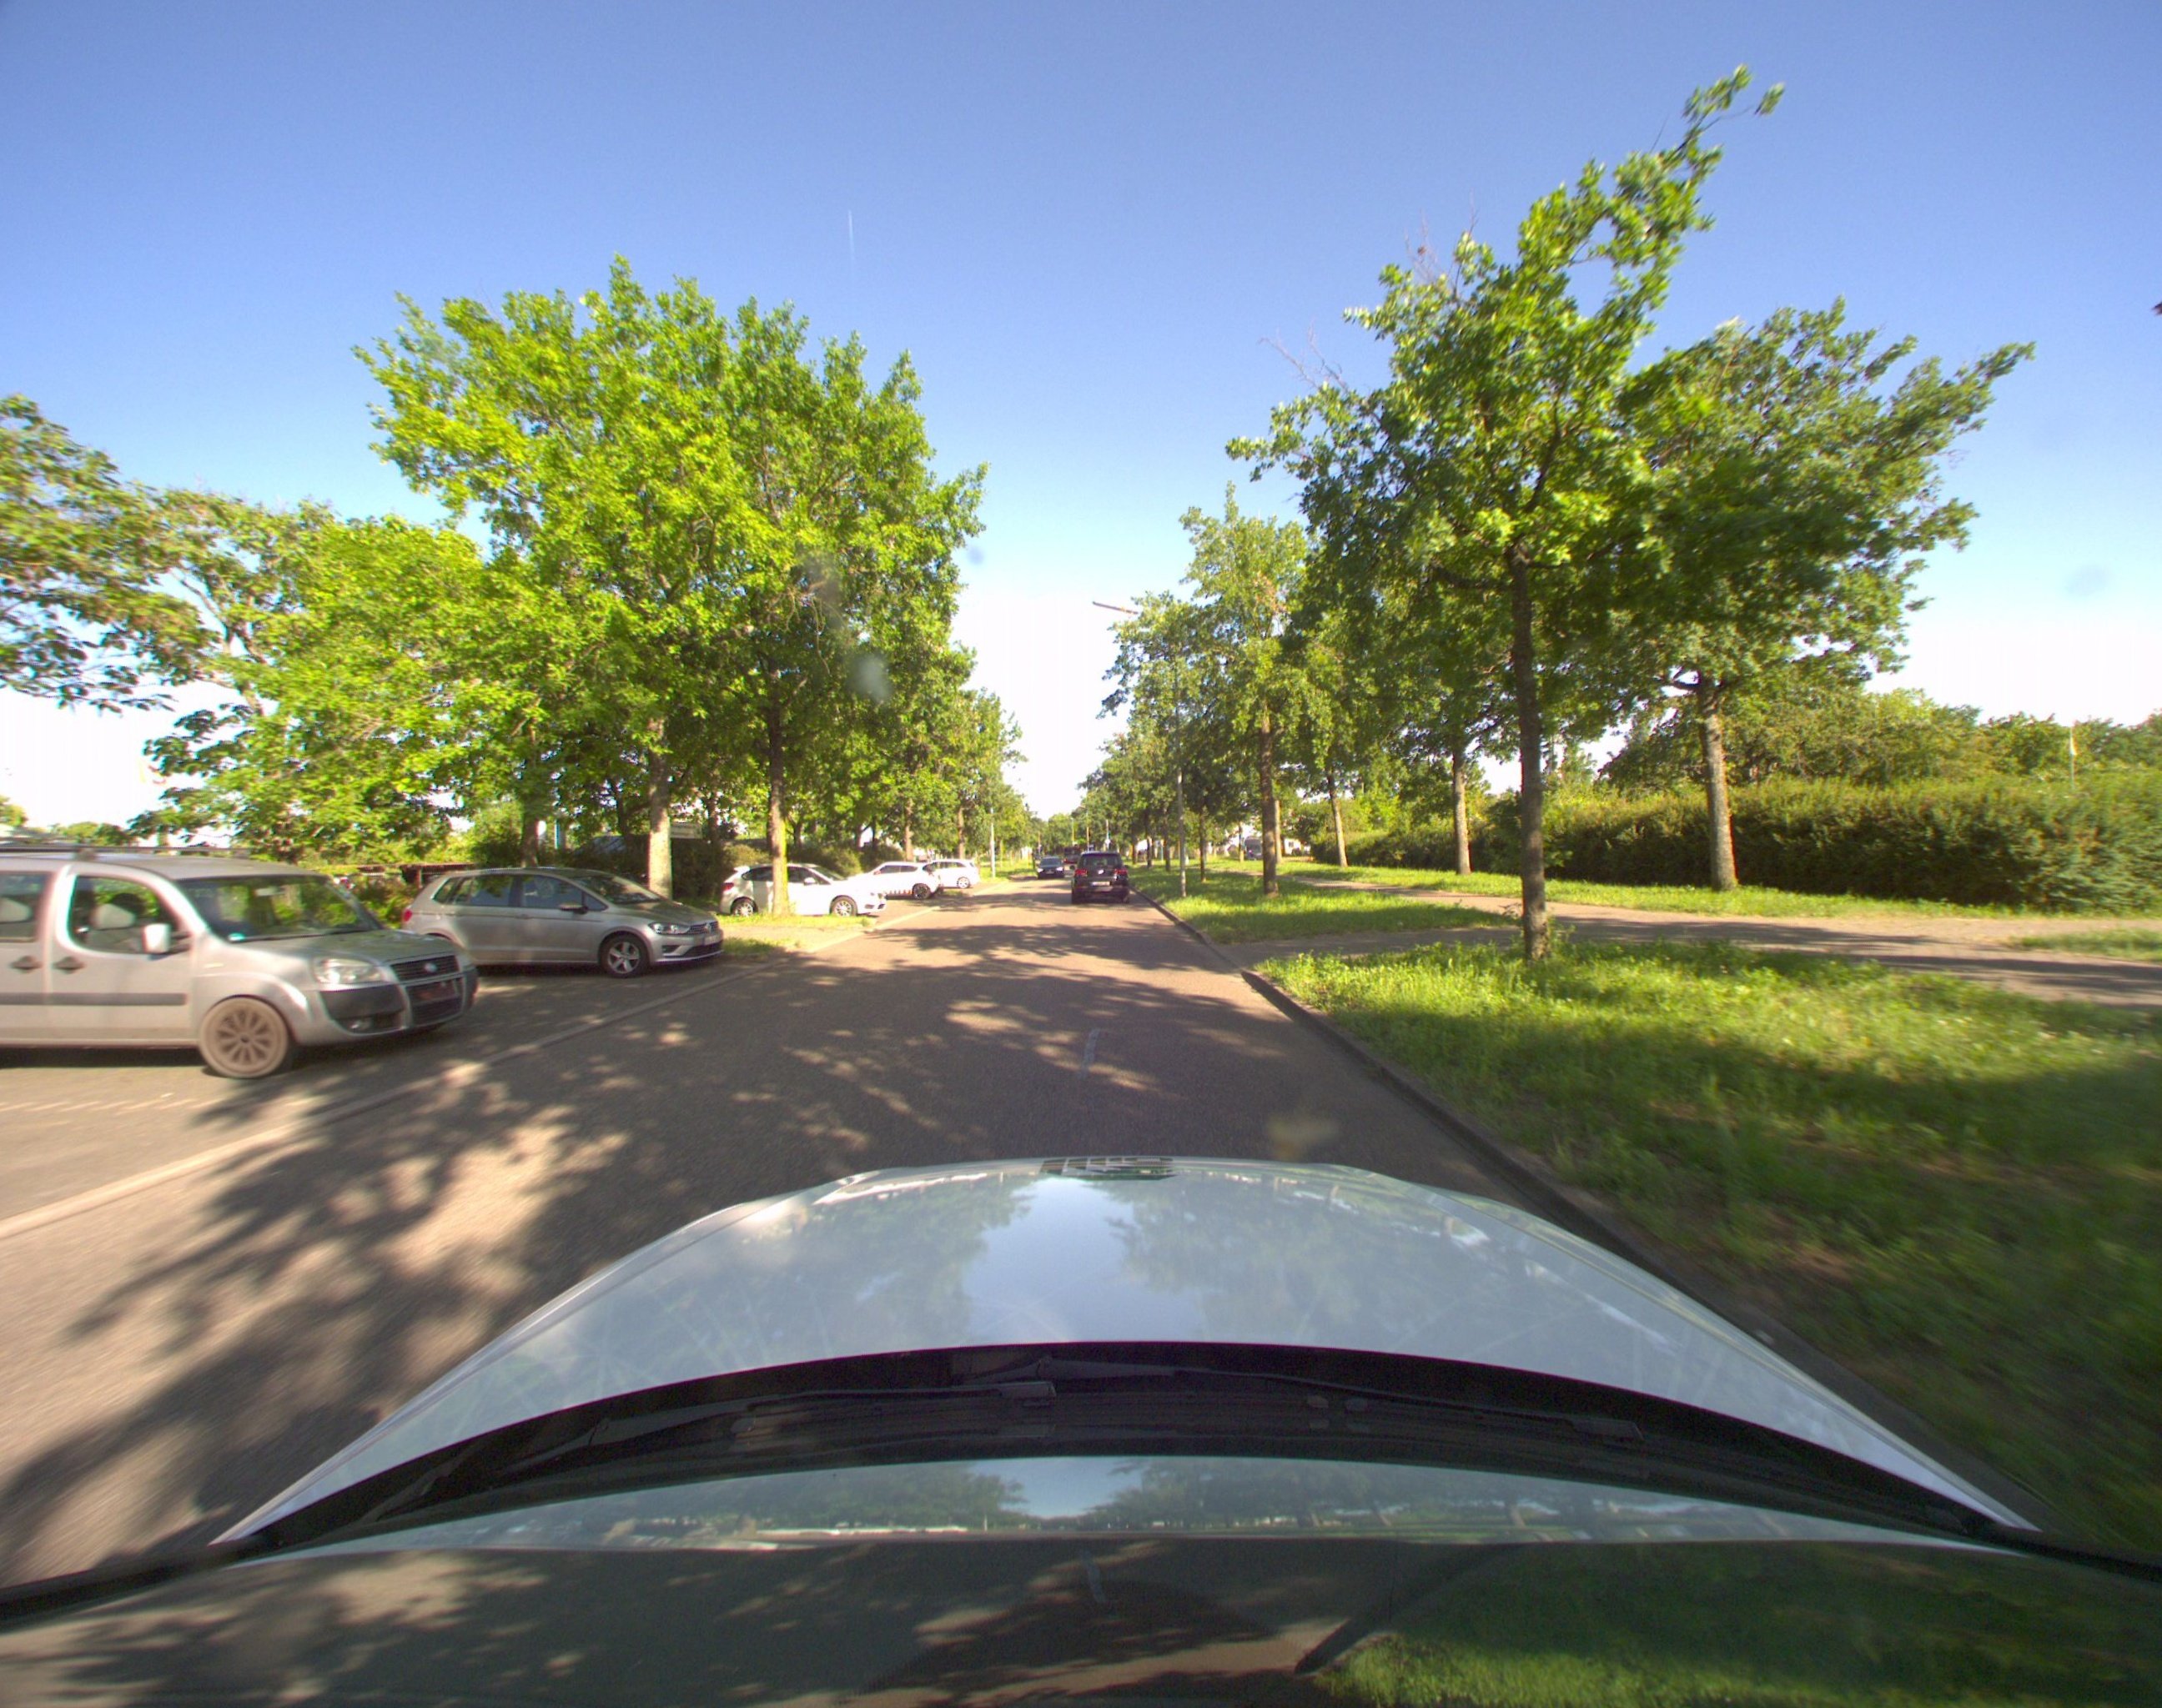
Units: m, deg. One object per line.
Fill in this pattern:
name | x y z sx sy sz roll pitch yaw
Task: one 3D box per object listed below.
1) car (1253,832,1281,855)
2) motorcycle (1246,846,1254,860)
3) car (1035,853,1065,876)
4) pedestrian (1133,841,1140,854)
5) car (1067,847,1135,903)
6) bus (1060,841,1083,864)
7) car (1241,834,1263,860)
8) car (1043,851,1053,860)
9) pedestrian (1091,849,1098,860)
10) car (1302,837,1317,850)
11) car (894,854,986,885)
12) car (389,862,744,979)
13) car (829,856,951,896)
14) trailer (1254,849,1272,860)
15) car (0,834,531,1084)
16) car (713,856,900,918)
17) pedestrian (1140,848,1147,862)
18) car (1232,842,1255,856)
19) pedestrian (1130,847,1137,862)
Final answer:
car | 22.861 -1.249 100.354 2.155 2.643 4.847 -2 0 -2
motorcycle | 16.589 -0.082 79.987 0.659 1.231 2.412 -2 -4 9
car | -2.102 0.672 55.713 1.678 1.402 4.429 -3 1 2
pedestrian | 7.180 -0.859 105.223 0.724 1.603 0.866 -2 0 -3
car | 0.559 0.612 26.746 1.931 1.656 4.423 -1 1 -3
bus | -1.575 -0.290 134.496 2.760 3.456 11.189 -2 1 -6
car | 18.959 -0.862 90.379 2.072 2.565 5.990 -1 3 9
car | -6.080 0.317 150.682 1.761 1.528 4.491 -4 1 -3
pedestrian | 2.146 0.053 132.913 1.017 1.651 1.098 -2 0 -3
car | 30.897 -1.471 110.048 1.821 1.640 4.017 -2 0 15
car | -7.478 0.806 43.525 4.618 1.558 2.188 -1 1 -5
car | -7.550 0.939 12.252 4.121 1.556 1.866 -1 0 1
car | -7.631 0.856 32.824 4.400 1.511 2.087 -1 1 -1
trailer | 17.466 0.086 78.080 1.569 0.868 2.059 -2 -4 10
car | -7.715 0.807 7.250 4.214 1.883 1.998 -1 0 -1
car | -7.478 0.879 22.504 4.396 1.556 2.089 -1 0 1
pedestrian | 8.157 0.139 105.819 0.724 1.755 0.867 -4 0 -2
car | 20.256 -0.588 101.377 2.000 1.664 3.594 -2 0 -2
pedestrian | 6.529 0.050 101.943 0.724 1.812 0.867 -2 3 -3
